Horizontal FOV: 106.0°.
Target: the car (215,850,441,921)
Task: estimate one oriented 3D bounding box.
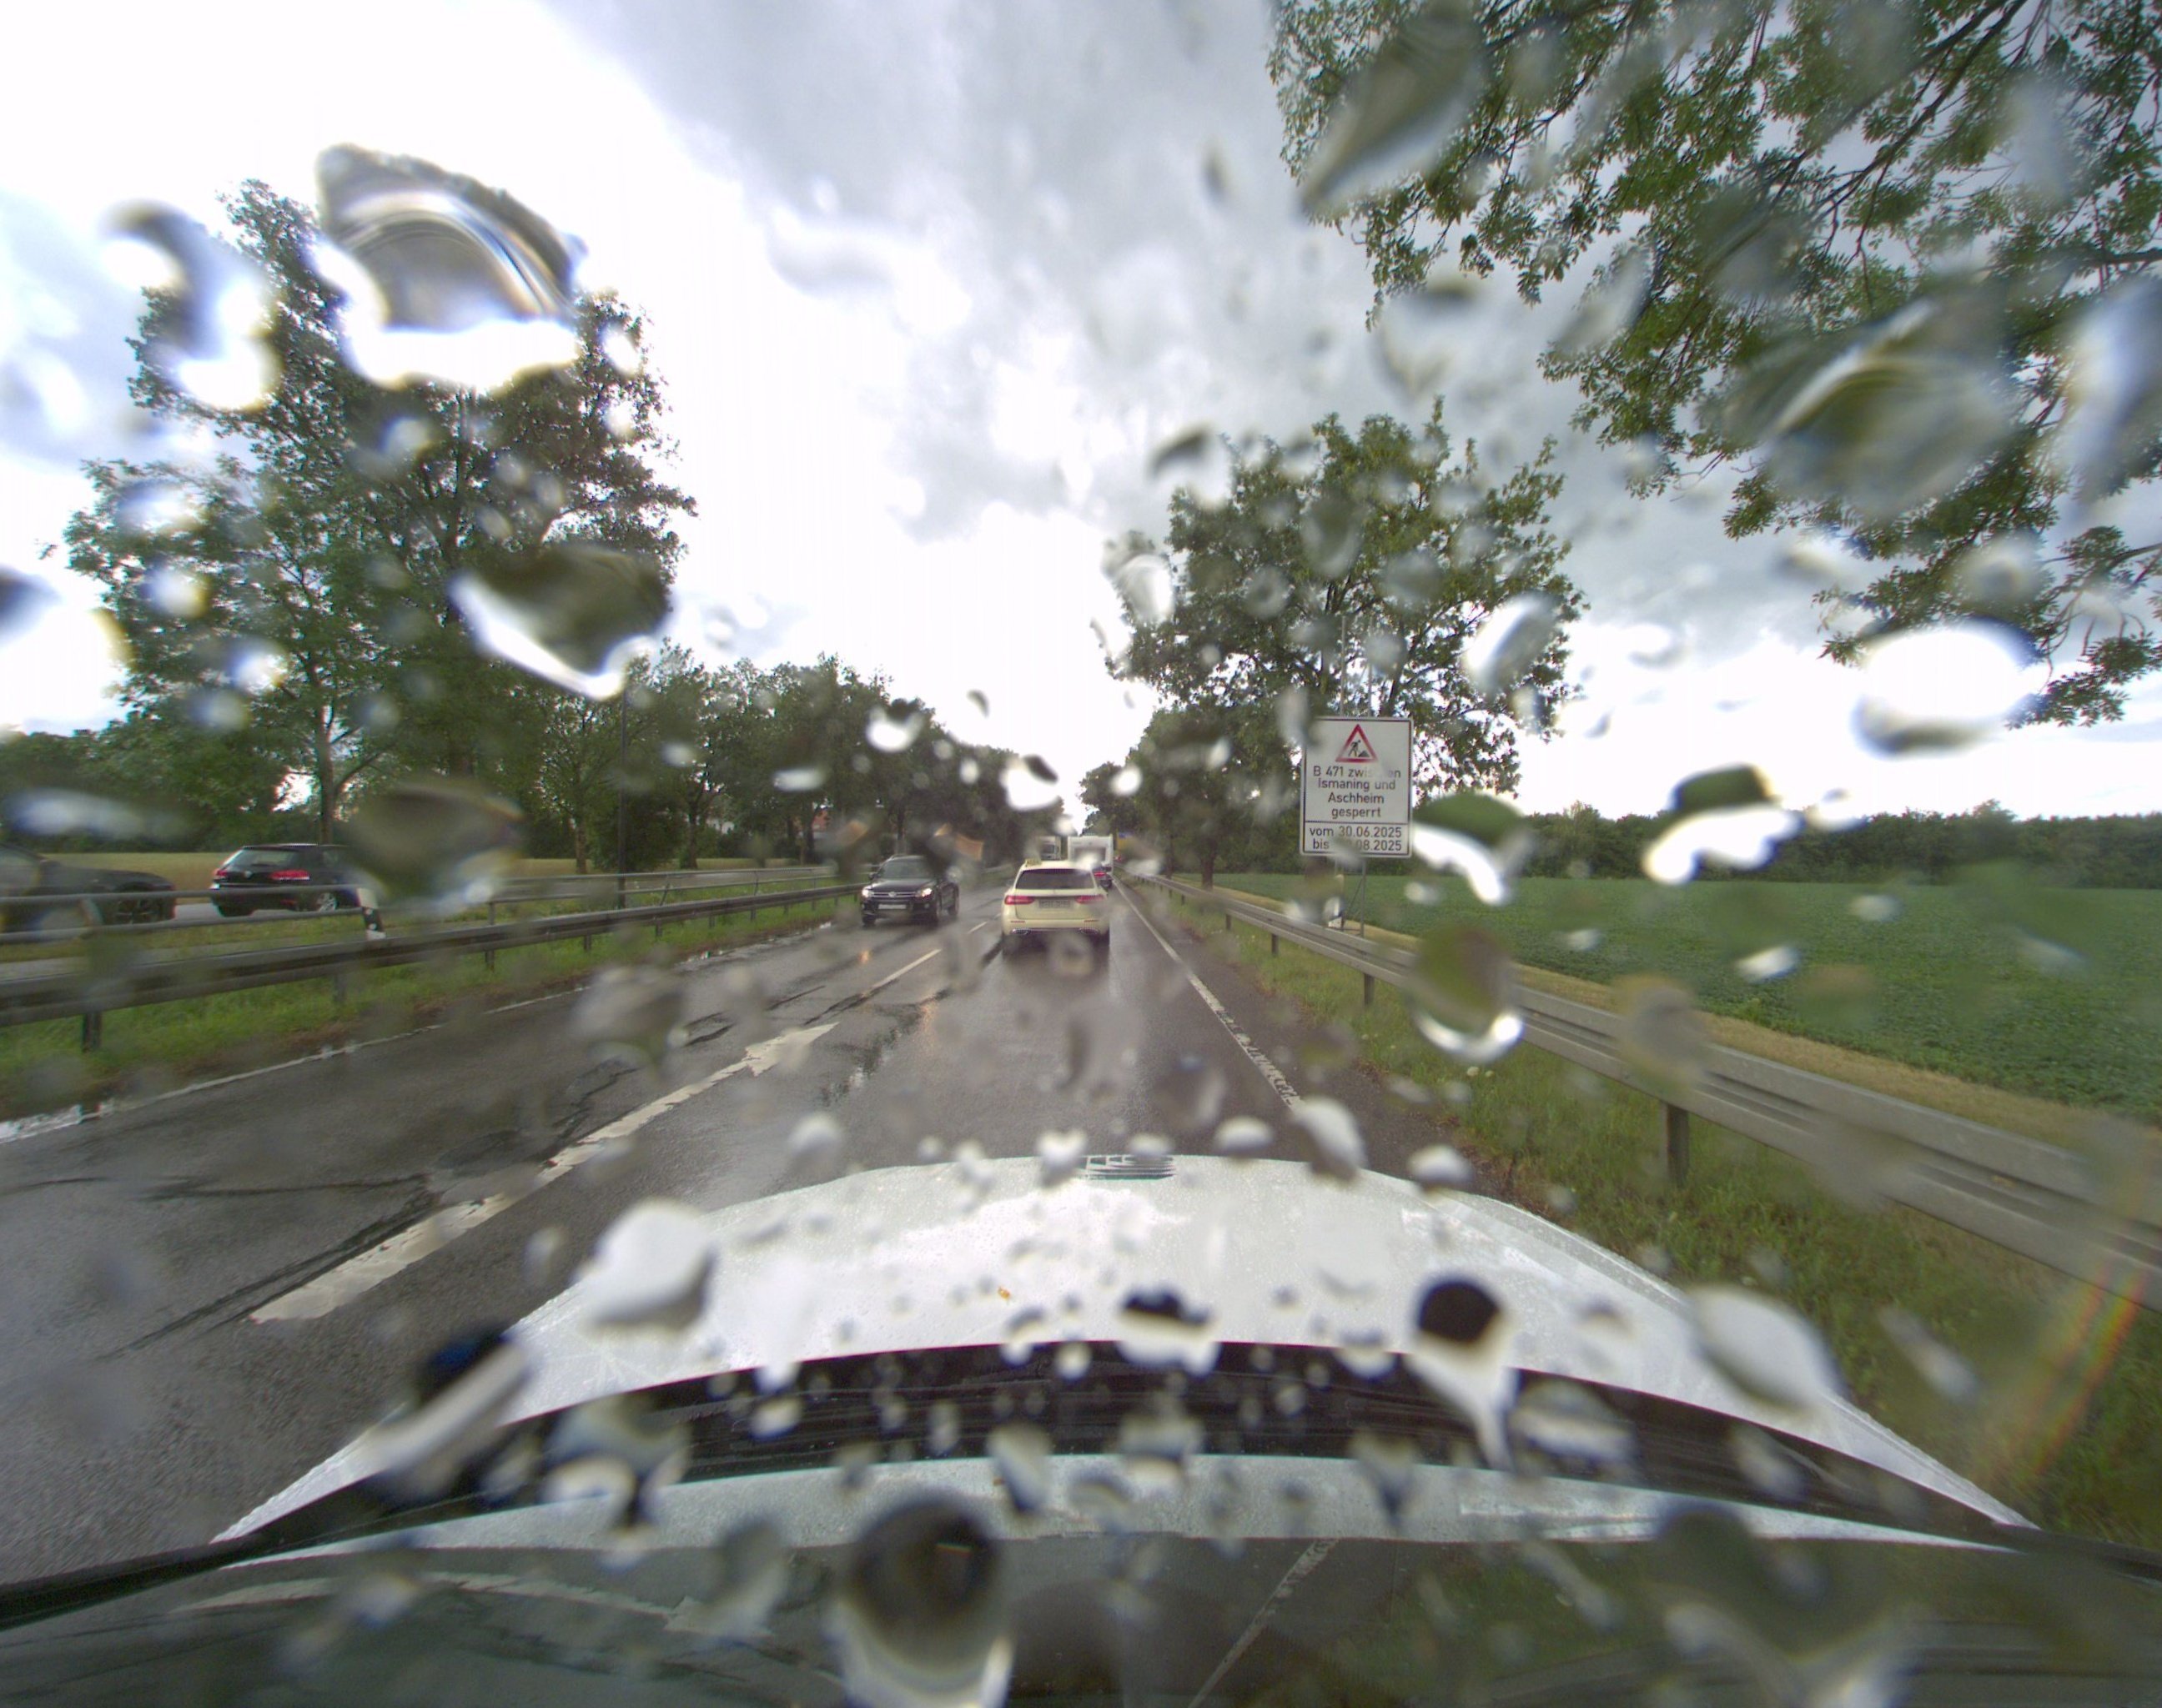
[{"bbox_3d":[-15.540,0.588,17.109,1.280,1.331,3.893,0,0,-3],"label":"car"}]

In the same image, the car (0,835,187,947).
[{"bbox_3d":[-15.176,0.481,10.639,1.512,1.491,5.116,1,0,-3],"label":"car"}]

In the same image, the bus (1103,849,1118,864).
[{"bbox_3d":[4.071,0.373,113.626,1.987,2.013,4.000,-1,0,0],"label":"bus"}]

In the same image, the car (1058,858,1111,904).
[{"bbox_3d":[0.187,0.855,27.624,1.658,1.431,4.002,-1,0,2],"label":"car"}]

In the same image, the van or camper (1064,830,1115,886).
[{"bbox_3d":[0.530,0.197,42.503,2.480,2.685,5.703,0,0,2],"label":"van or camper"}]

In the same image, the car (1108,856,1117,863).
[{"bbox_3d":[5.549,1.007,144.878,1.546,1.118,4.001,0,-1,2],"label":"car"}]

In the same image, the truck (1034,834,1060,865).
[{"bbox_3d":[-3.937,-0.519,96.018,2.568,3.452,9.553,-1,0,0],"label":"truck"}]

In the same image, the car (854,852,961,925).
[{"bbox_3d":[-4.203,0.784,20.308,1.758,1.619,4.000,-1,0,0],"label":"car"}]

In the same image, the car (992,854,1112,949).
[{"bbox_3d":[-0.382,0.752,14.781,1.858,1.476,4.002,-1,0,2],"label":"car"}]
